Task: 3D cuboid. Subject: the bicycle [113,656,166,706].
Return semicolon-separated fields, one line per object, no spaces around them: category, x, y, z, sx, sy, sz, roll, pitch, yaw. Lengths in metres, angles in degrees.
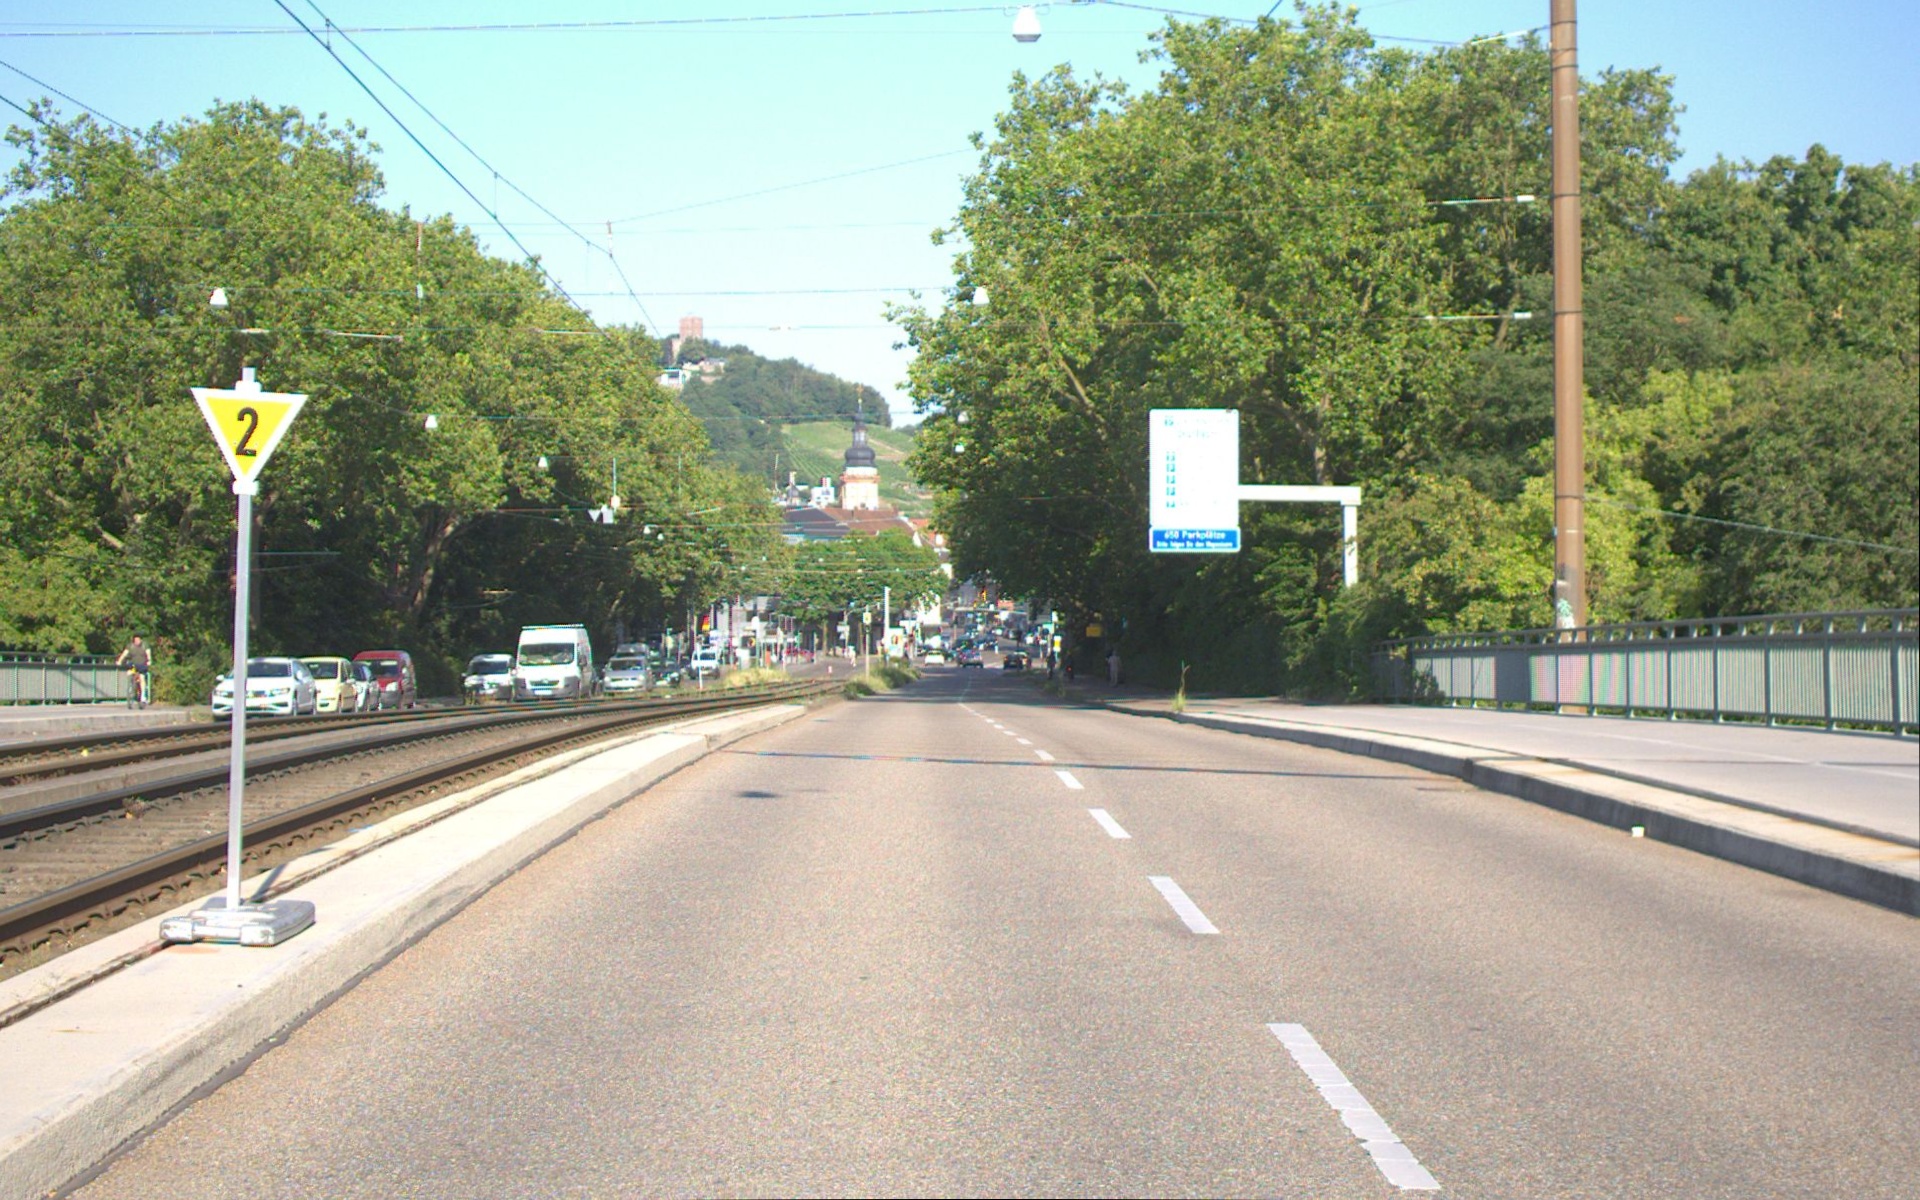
bicycle;-18.844;1.847;78.964;0.679;1.094;2.100;2;-1;0

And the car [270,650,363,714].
car;-15.882;2.005;85.006;1.633;1.526;3.790;0;-1;-1

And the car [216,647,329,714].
car;-15.784;1.830;79.142;1.741;1.459;4.956;0;-1;-2

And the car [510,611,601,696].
car;-12.907;1.706;110.025;2.086;2.584;6.040;-2;-1;0

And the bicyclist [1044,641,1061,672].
bicyclist;5.312;3.233;196.881;0.887;1.769;1.222;-1;-1;-3

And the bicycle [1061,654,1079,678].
bicycle;6.039;3.637;189.346;0.887;1.317;2.639;-1;-1;0

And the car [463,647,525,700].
car;-16.763;2.634;123.873;1.741;1.737;4.514;-3;0;-3

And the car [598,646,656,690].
car;-13.786;2.802;142.319;1.873;1.660;4.597;-3;-1;0

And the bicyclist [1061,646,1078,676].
bicyclist;6.038;3.384;189.304;0.887;1.633;1.164;-1;-1;0

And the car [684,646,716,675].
car;-17.247;4.002;228.450;1.993;1.838;5.302;1;-1;-3

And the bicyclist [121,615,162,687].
bicyclist;-18.824;1.174;79.057;0.679;1.621;0.890;2;-1;0

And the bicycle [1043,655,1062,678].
bicycle;5.307;3.793;196.864;0.887;1.317;2.639;-1;-1;-3

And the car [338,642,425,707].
car;-16.082;2.055;95.765;1.741;1.748;4.684;0;-1;-1
